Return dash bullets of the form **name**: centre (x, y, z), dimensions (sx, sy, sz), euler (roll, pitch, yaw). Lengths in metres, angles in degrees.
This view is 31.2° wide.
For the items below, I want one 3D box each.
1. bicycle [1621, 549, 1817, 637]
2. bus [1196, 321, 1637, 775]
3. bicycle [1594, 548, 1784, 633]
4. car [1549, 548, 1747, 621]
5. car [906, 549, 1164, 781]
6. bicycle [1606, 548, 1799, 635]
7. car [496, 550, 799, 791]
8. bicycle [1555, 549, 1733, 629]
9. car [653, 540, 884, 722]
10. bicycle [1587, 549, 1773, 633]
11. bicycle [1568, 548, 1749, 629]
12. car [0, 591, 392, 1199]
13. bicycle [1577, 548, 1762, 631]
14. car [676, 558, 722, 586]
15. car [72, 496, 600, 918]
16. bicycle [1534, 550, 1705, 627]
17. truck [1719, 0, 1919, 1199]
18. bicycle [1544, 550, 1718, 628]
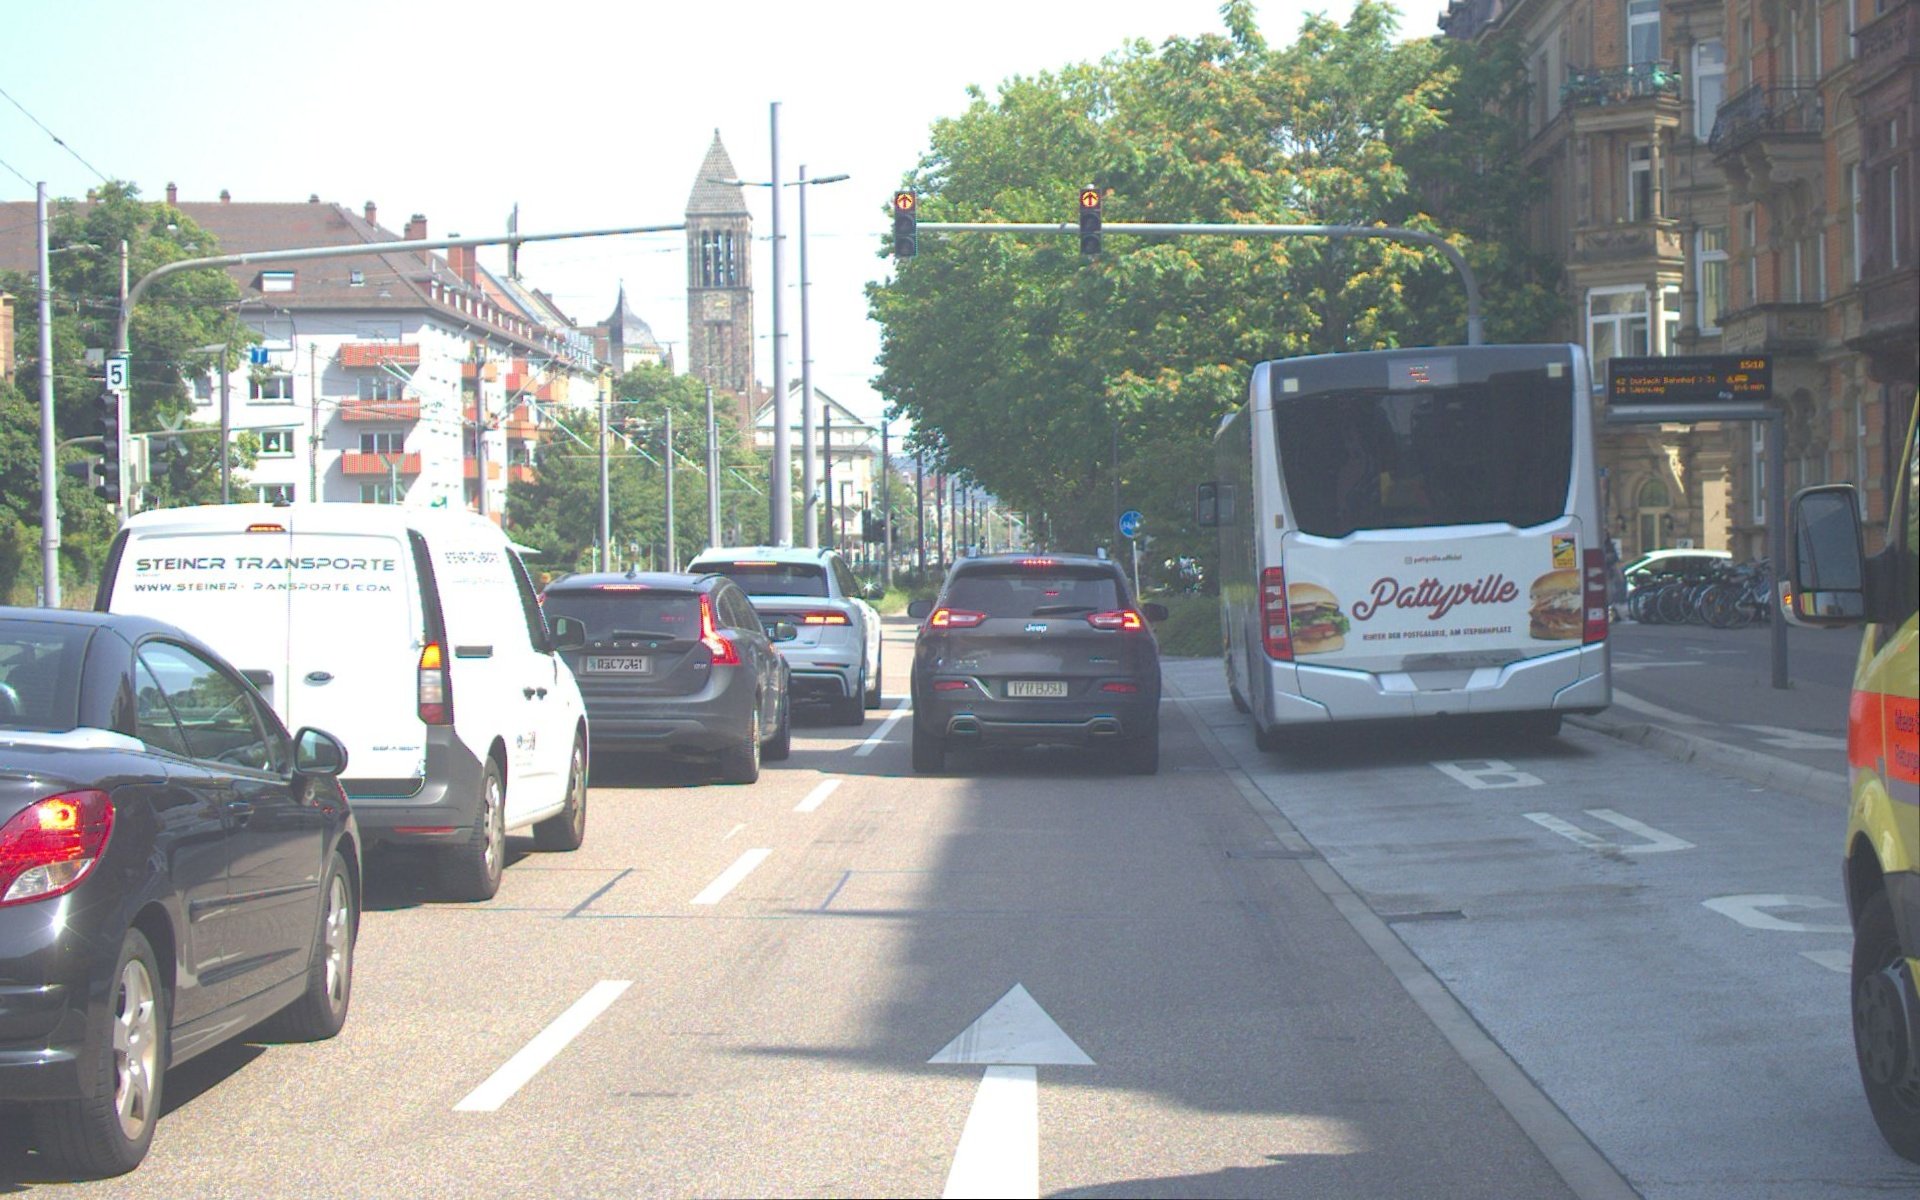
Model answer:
- **bicycle**: centre (12.406, -0.123, 56.252), dimensions (2.993, 1.366, 0.871), euler (-1, 0, 1)
- **bus**: centre (3.685, -0.431, 30.645), dimensions (2.743, 3.096, 11.955), euler (-3, 0, 3)
- **bicycle**: centre (12.306, -0.159, 58.074), dimensions (2.993, 1.366, 0.871), euler (-1, 0, 1)
- **car**: centre (15.142, -0.354, 75.745), dimensions (3.931, 1.515, 1.683), euler (-1, 1, -6)
- **car**: centre (0.619, 0.434, 26.706), dimensions (1.833, 1.646, 4.308), euler (0, 1, 2)
- **bicycle**: centre (12.329, -0.149, 57.160), dimensions (2.993, 1.366, 0.871), euler (-1, 0, 1)
- **car**: centre (-2.205, 0.445, 25.307), dimensions (1.747, 1.609, 4.308), euler (0, 1, 1)
- **bicycle**: centre (12.330, -0.206, 62.071), dimensions (3.004, 1.368, 0.947), euler (-1, 1, 1)
- **car**: centre (-1.775, 0.245, 33.177), dimensions (1.902, 1.646, 4.308), euler (0, 1, 1)
- **bicycle**: centre (12.348, -0.156, 59.021), dimensions (2.993, 1.366, 0.871), euler (-1, 0, 1)
- **bicycle**: centre (12.397, -0.210, 61.058), dimensions (3.004, 1.368, 0.947), euler (-1, 1, 1)
- **car**: centre (-2.783, 0.697, 9.657), dimensions (1.688, 1.409, 3.801), euler (0, 1, 1)
- **bicycle**: centre (12.365, -0.189, 59.964), dimensions (3.004, 1.368, 0.947), euler (-1, 1, 1)
- **car**: centre (-14.386, -1.564, 189.439), dimensions (1.746, 1.430, 4.572), euler (-2, 1, 5)
- **car**: centre (-2.913, 0.436, 16.937), dimensions (1.747, 1.814, 4.239), euler (0, 1, 1)
- **bicycle**: centre (12.342, -0.226, 64.389), dimensions (3.004, 1.368, 0.947), euler (-1, 1, 1)
- **truck**: centre (3.087, -0.036, 6.306), dimensions (2.328, 2.760, 6.337), euler (-3, 0, 5)
- **bicycle**: centre (12.364, -0.211, 63.388), dimensions (3.004, 1.368, 0.947), euler (-1, 1, 1)
